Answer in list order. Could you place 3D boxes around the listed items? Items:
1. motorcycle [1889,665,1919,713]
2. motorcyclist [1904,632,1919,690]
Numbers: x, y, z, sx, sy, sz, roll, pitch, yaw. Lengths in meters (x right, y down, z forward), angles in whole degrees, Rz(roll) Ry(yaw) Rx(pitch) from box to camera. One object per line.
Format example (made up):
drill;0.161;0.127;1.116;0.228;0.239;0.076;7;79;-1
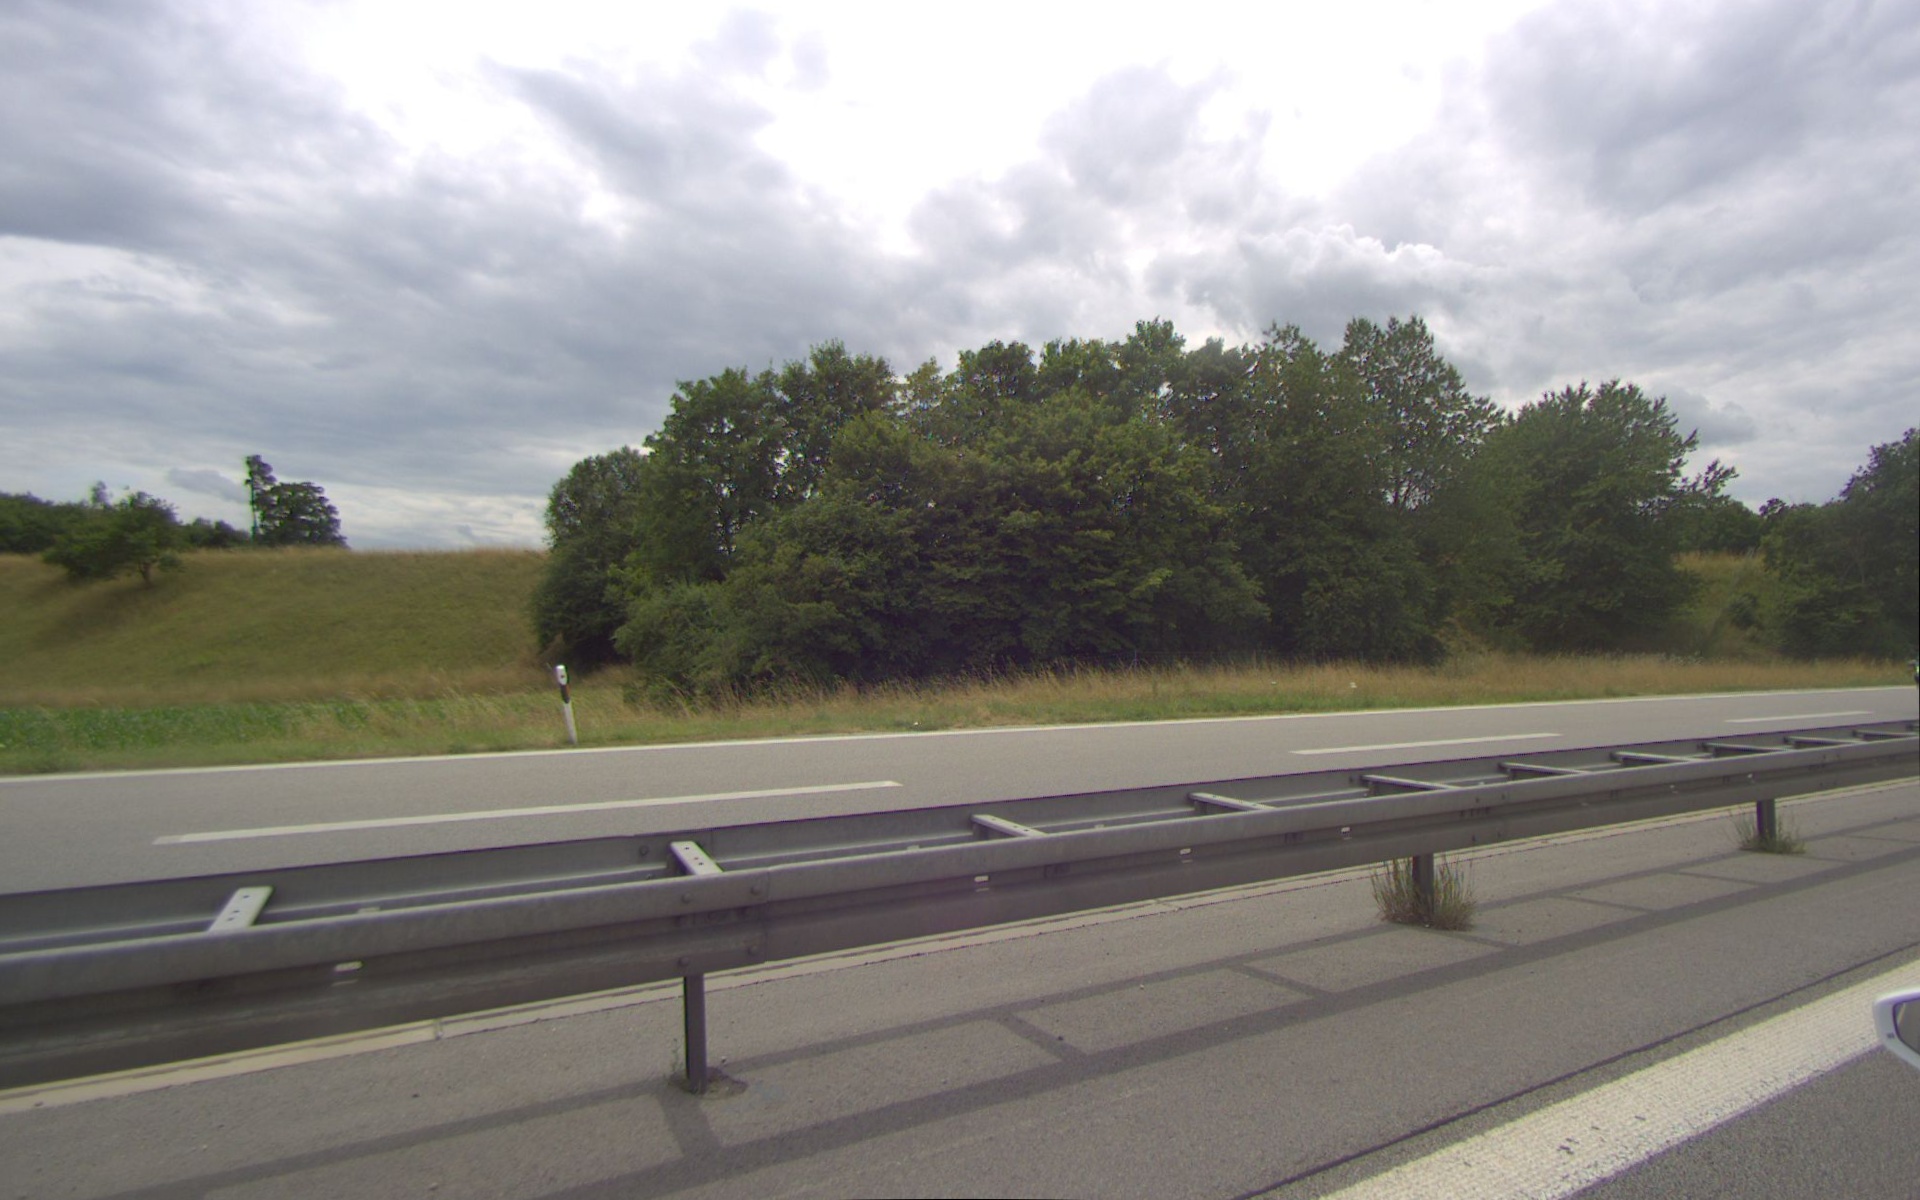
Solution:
motorcycle;21.114;1.913;21.650;2.692;0.947;0.851;1;0;-30
motorcyclist;21.053;1.326;21.594;0.949;1.225;0.857;2;0;-30
